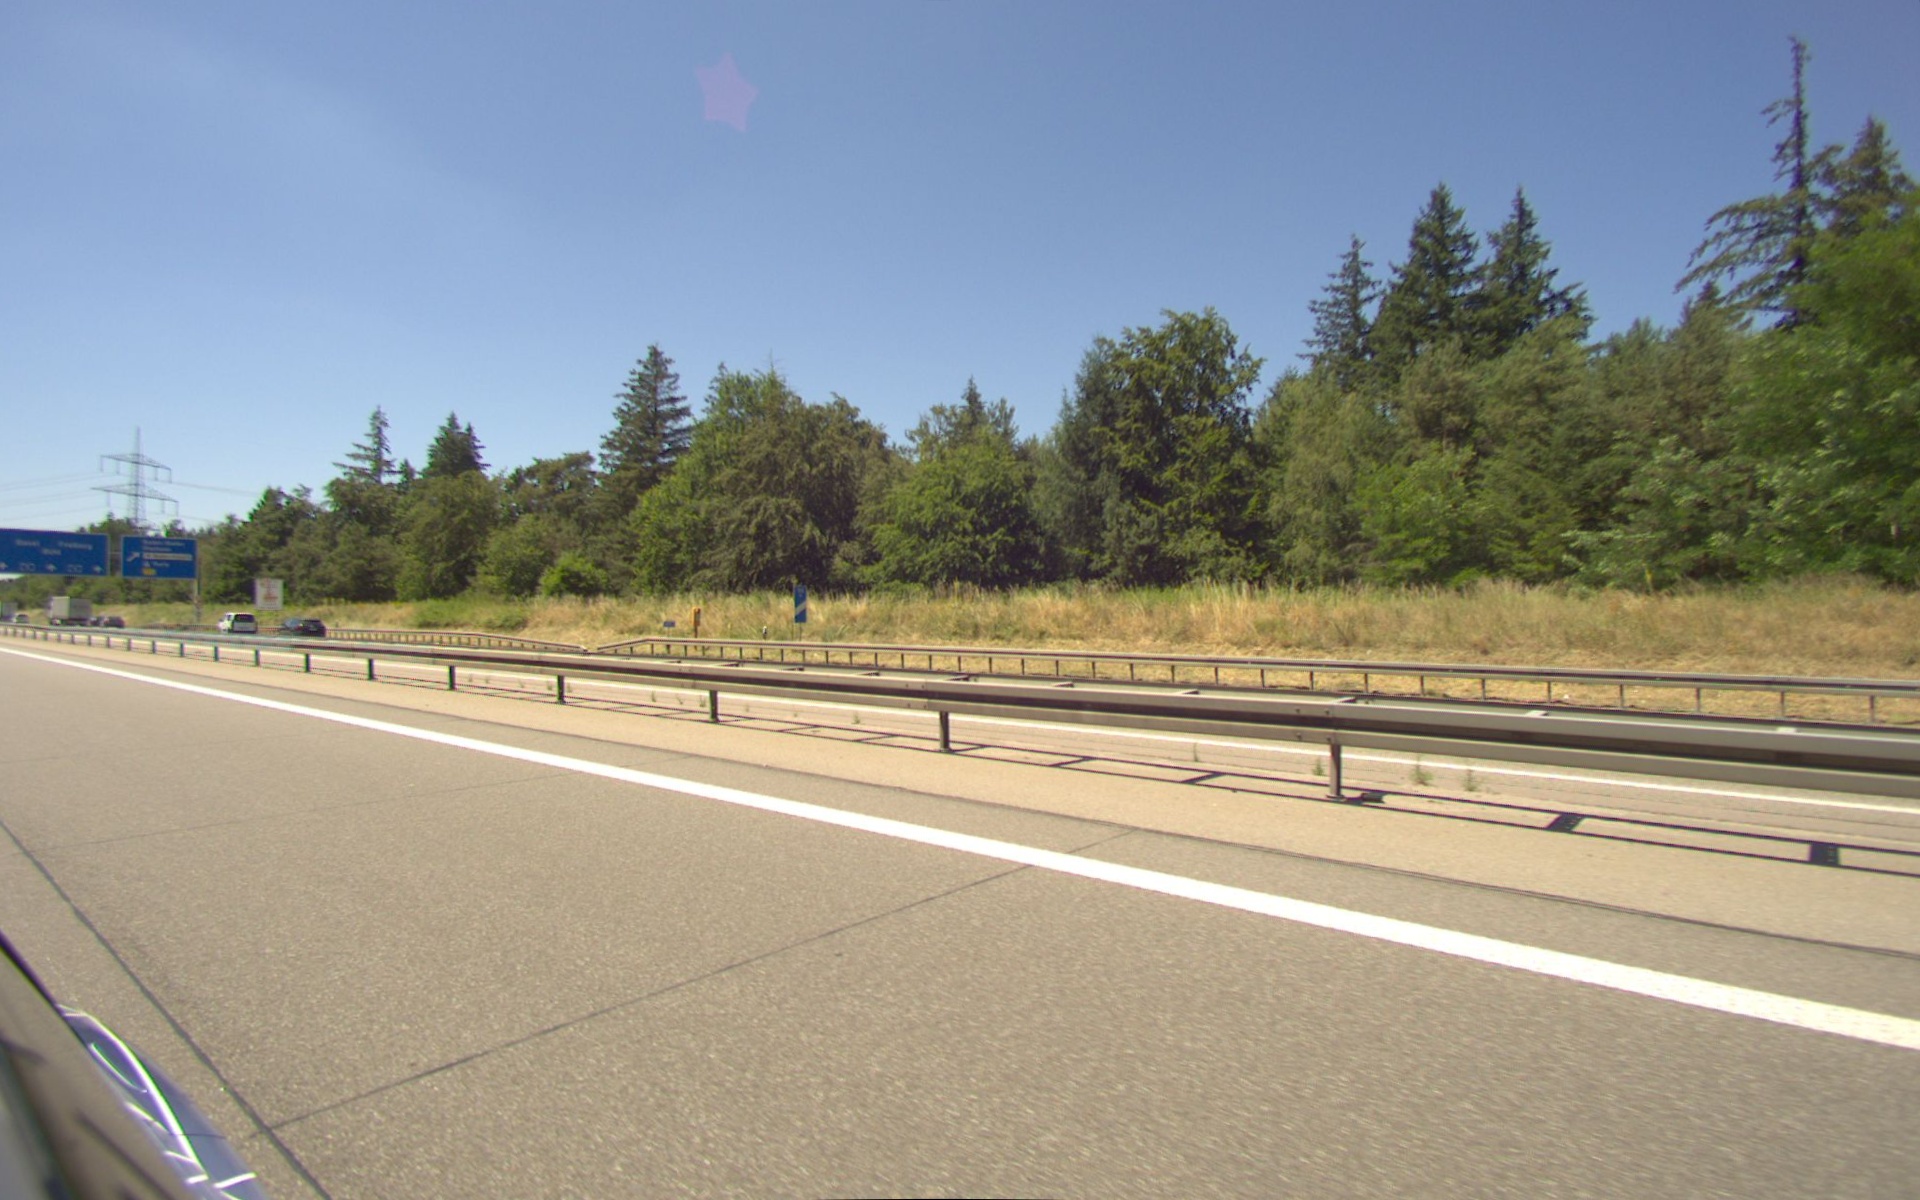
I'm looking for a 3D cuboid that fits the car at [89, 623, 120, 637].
[{"bbox_3d":[-96.715,3.376,114.409,4.940,1.474,1.907,-1,-2,41],"label":"car"}]

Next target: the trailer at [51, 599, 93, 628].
[{"bbox_3d":[-125.975,1.933,143.433,13.963,3.960,3.134,-1,0,43],"label":"trailer"}]

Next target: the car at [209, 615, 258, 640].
[{"bbox_3d":[-55.298,2.065,76.997,4.640,1.842,1.973,-1,-3,41],"label":"car"}]

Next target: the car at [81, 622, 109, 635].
[{"bbox_3d":[-109.539,3.640,128.152,4.940,1.474,2.064,1,0,41],"label":"car"}]

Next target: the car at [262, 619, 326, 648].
[{"bbox_3d":[-41.546,2.060,63.087,4.976,1.716,1.973,-1,-3,41],"label":"car"}]

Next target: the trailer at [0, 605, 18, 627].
[{"bbox_3d":[-182.392,3.128,192.933,14.359,4.073,3.179,-1,-1,43],"label":"trailer"}]

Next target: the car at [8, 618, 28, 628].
[{"bbox_3d":[-161.361,3.955,173.421,4.987,1.763,1.973,-1,-1,41],"label":"car"}]
